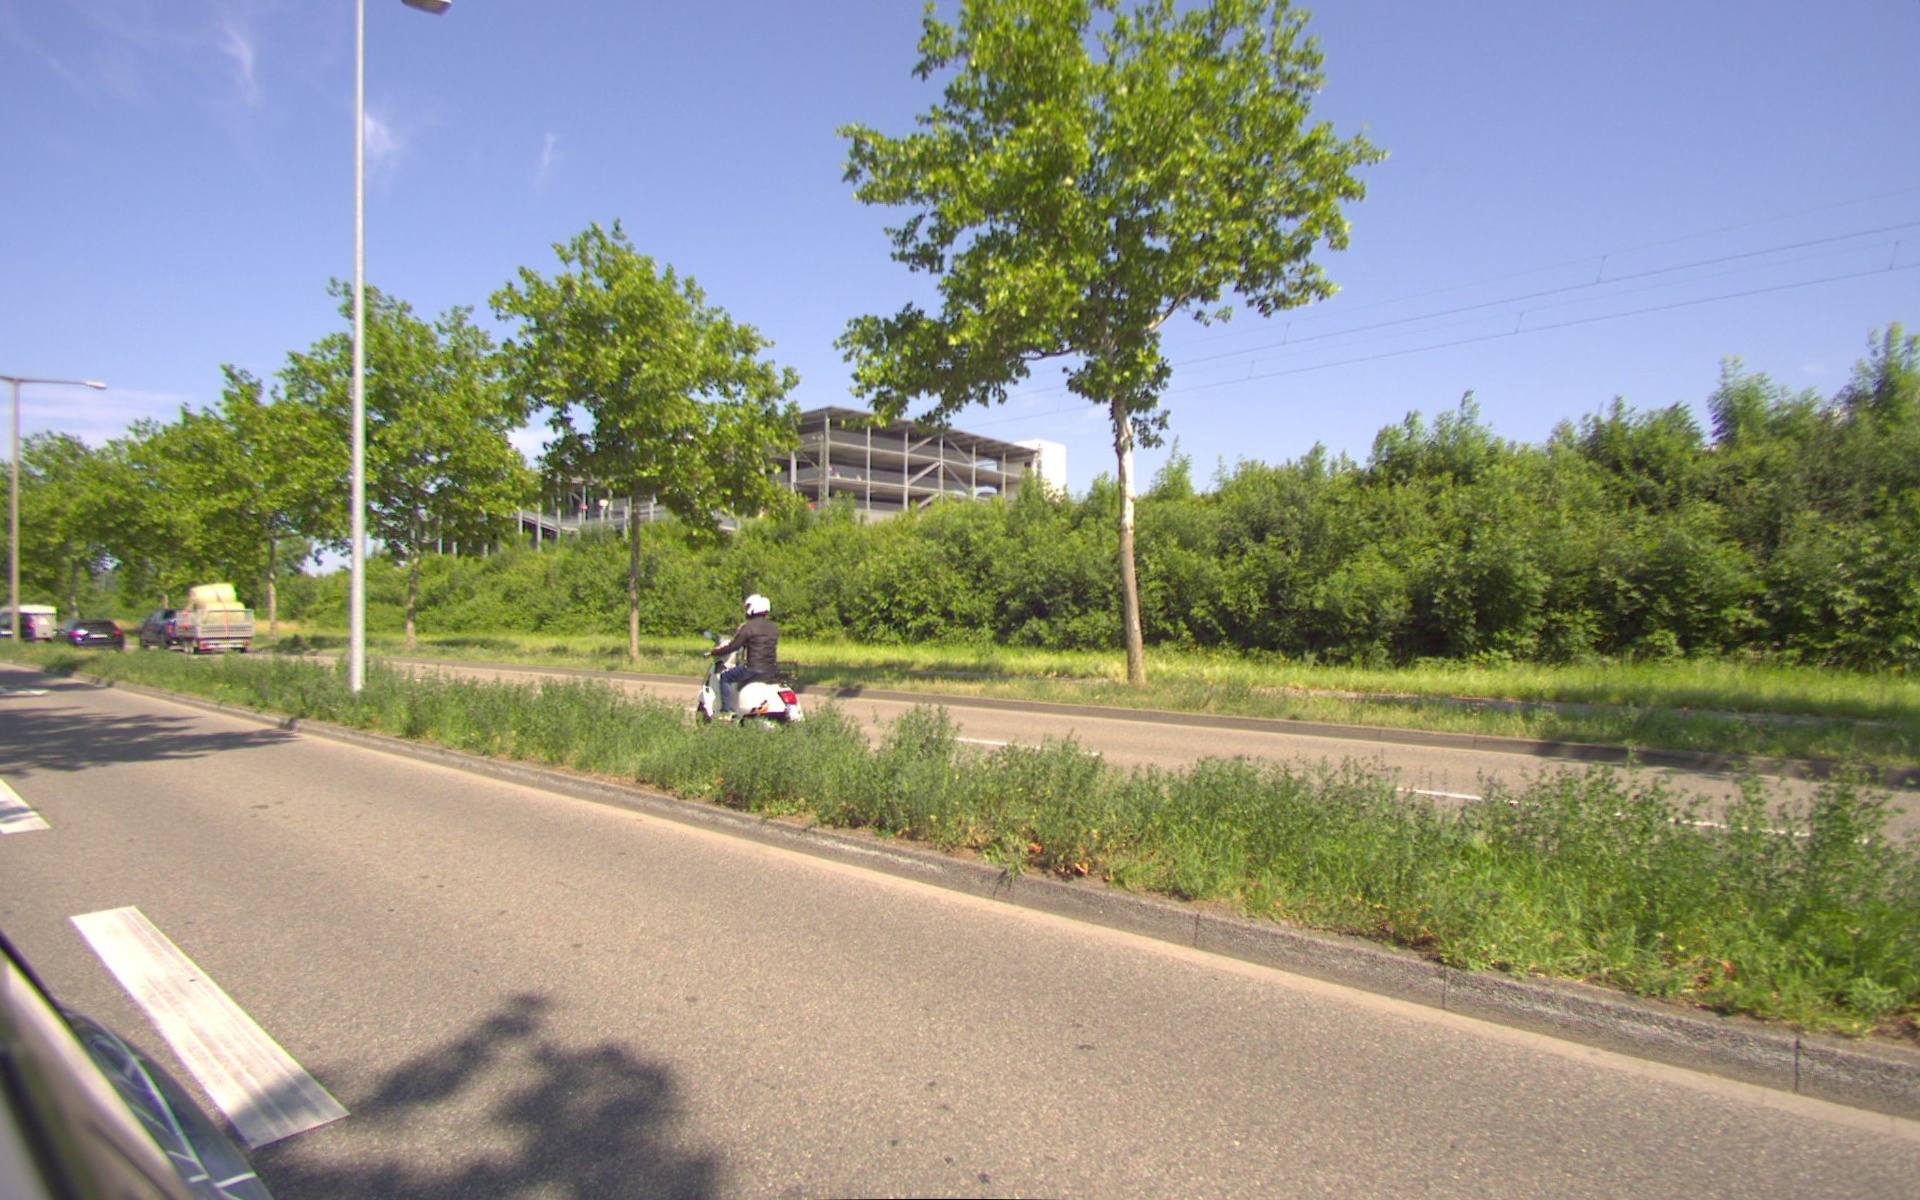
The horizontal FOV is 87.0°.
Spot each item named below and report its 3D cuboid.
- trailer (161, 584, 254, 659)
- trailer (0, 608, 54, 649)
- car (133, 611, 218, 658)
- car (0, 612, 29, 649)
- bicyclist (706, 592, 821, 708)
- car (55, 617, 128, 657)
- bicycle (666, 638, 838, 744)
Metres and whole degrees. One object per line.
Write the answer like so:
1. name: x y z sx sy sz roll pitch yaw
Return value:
1. trailer: -29.645 0.815 39.833 4.825 2.764 1.861 -1 0 40
2. trailer: -55.123 1.642 59.451 5.537 2.282 2.284 -1 -1 42
3. car: -33.182 1.411 42.729 5.372 1.803 1.746 -1 0 40
4. car: -48.869 1.538 51.357 4.226 1.823 1.714 -1 0 38
5. bicyclist: -2.190 0.528 11.229 1.101 1.199 0.720 -1 0 42
6. car: -34.439 1.429 40.093 3.787 1.483 1.587 -1 -1 40
7. bicycle: -2.394 0.980 11.441 2.216 1.037 0.720 -1 0 42
